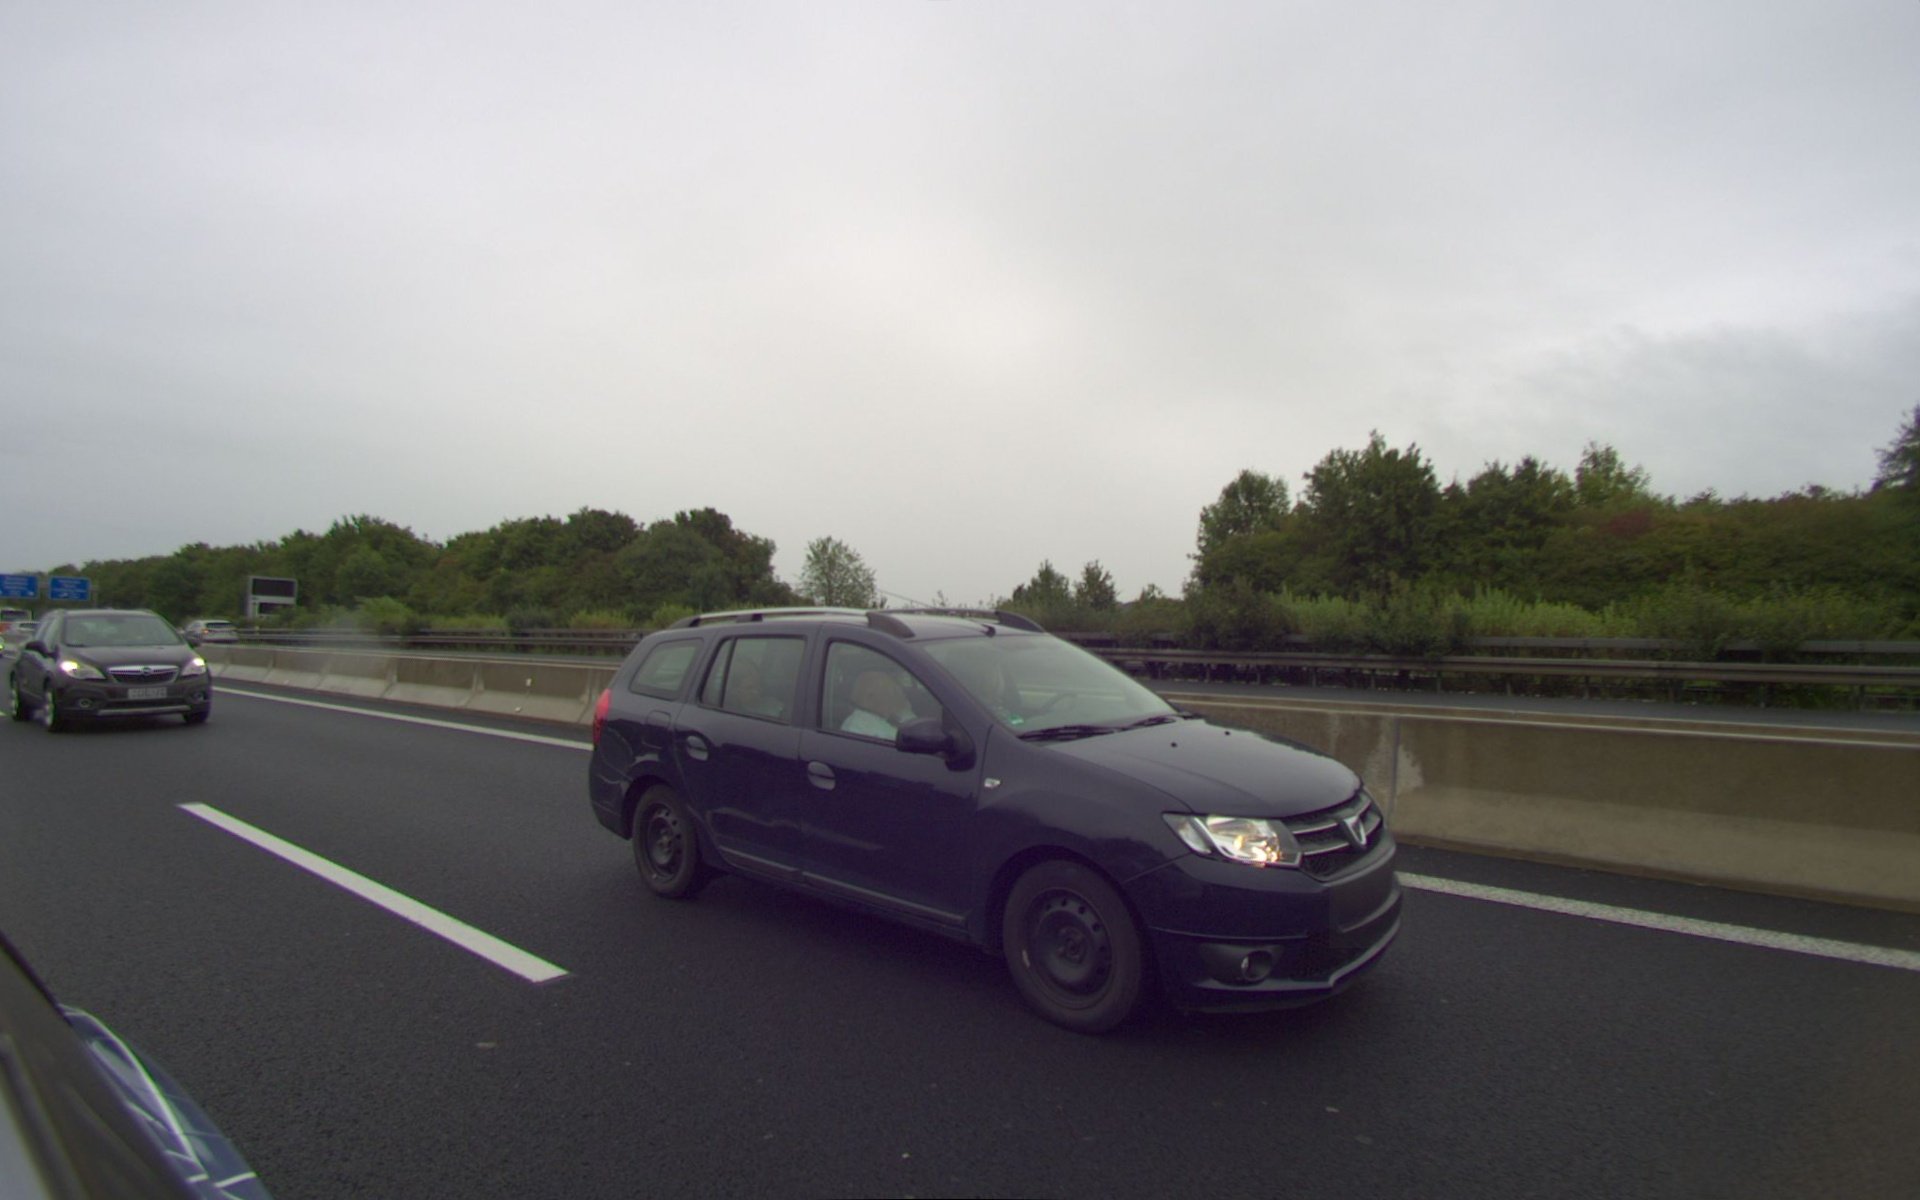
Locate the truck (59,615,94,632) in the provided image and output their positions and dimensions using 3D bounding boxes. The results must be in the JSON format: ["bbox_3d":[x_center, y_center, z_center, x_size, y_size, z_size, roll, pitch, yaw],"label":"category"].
[{"bbox_3d":[-120.856,3.187,138.465,6.143,2.259,2.008,-1,-2,34],"label":"truck"}]

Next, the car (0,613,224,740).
[{"bbox_3d":[-12.311,0.998,14.627,3.831,1.592,1.790,-1,-2,39],"label":"car"}]

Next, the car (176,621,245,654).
[{"bbox_3d":[-39.545,1.951,53.368,4.599,1.662,1.872,-1,-2,40],"label":"car"}]

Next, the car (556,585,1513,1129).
[{"bbox_3d":[-0.037,0.776,4.964,4.564,1.501,1.703,-2,-2,41],"label":"car"}]

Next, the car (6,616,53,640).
[{"bbox_3d":[-67.412,2.019,73.314,4.300,1.724,1.973,-1,-2,40],"label":"car"}]

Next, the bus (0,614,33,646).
[{"bbox_3d":[-93.654,2.858,99.083,11.887,2.981,2.671,-1,-2,40],"label":"bus"}]
